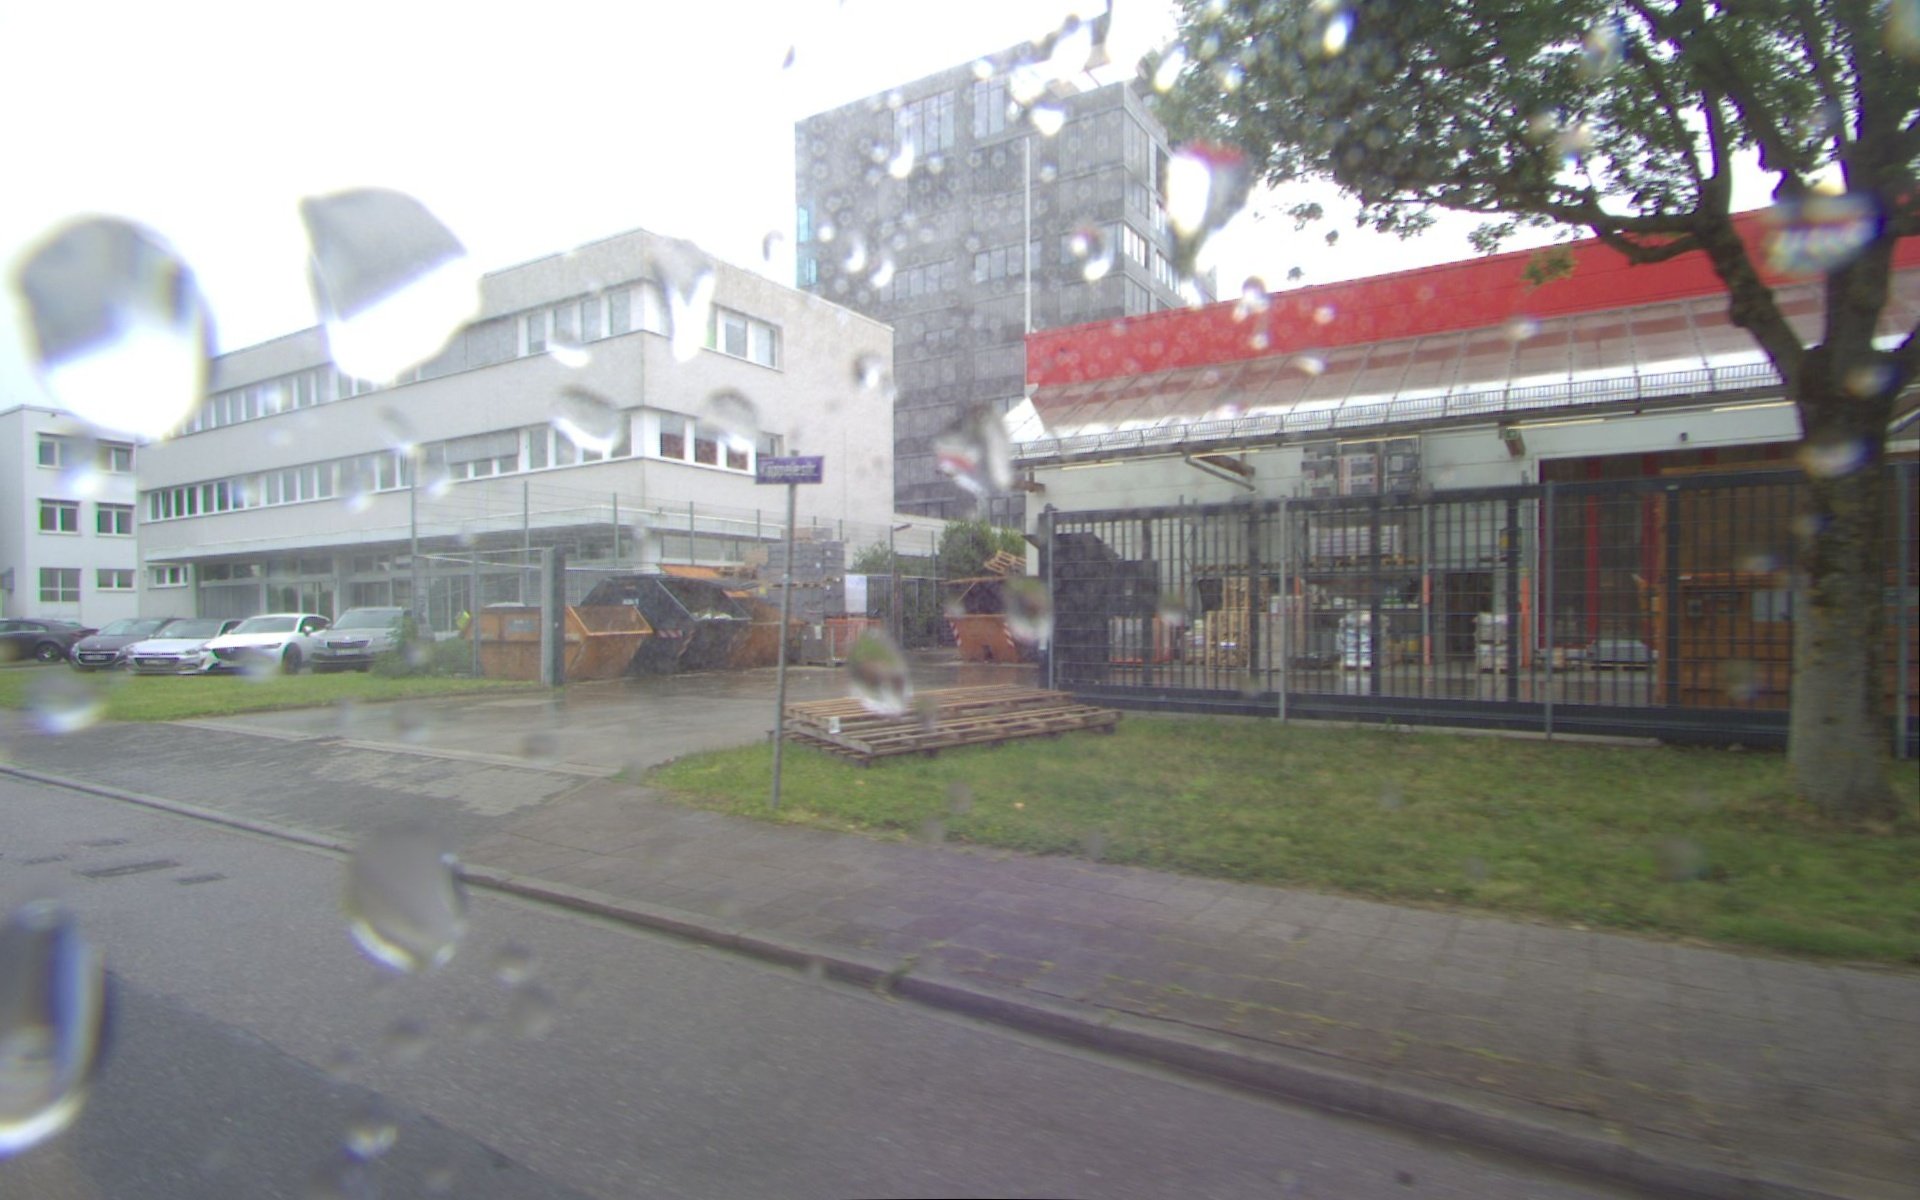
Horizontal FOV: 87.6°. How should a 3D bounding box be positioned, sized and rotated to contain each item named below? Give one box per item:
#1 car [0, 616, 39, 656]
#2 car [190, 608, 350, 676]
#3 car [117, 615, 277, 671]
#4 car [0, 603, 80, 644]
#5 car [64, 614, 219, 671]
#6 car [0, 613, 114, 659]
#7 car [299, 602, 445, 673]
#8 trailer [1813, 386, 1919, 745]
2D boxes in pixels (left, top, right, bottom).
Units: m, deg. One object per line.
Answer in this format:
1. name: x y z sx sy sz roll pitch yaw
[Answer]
1. car: -37.042 1.287 37.208 3.715 1.414 1.724 3 -1 -17
2. car: -16.526 0.959 24.245 1.742 1.489 3.996 0 0 -11
3. car: -19.408 1.045 25.708 1.675 1.303 3.996 0 0 -11
4. car: -48.422 1.178 50.029 1.969 2.039 6.449 -1 -2 28
5. car: -22.023 1.104 27.129 1.675 1.411 3.765 0 0 -11
6. car: -31.642 1.191 33.601 4.596 1.487 1.787 0 0 -19
7. car: -14.005 0.847 24.108 1.838 1.547 3.996 0 0 -12
8. trailer: 15.795 -0.528 11.013 9.338 4.298 2.960 -2 -1 33
